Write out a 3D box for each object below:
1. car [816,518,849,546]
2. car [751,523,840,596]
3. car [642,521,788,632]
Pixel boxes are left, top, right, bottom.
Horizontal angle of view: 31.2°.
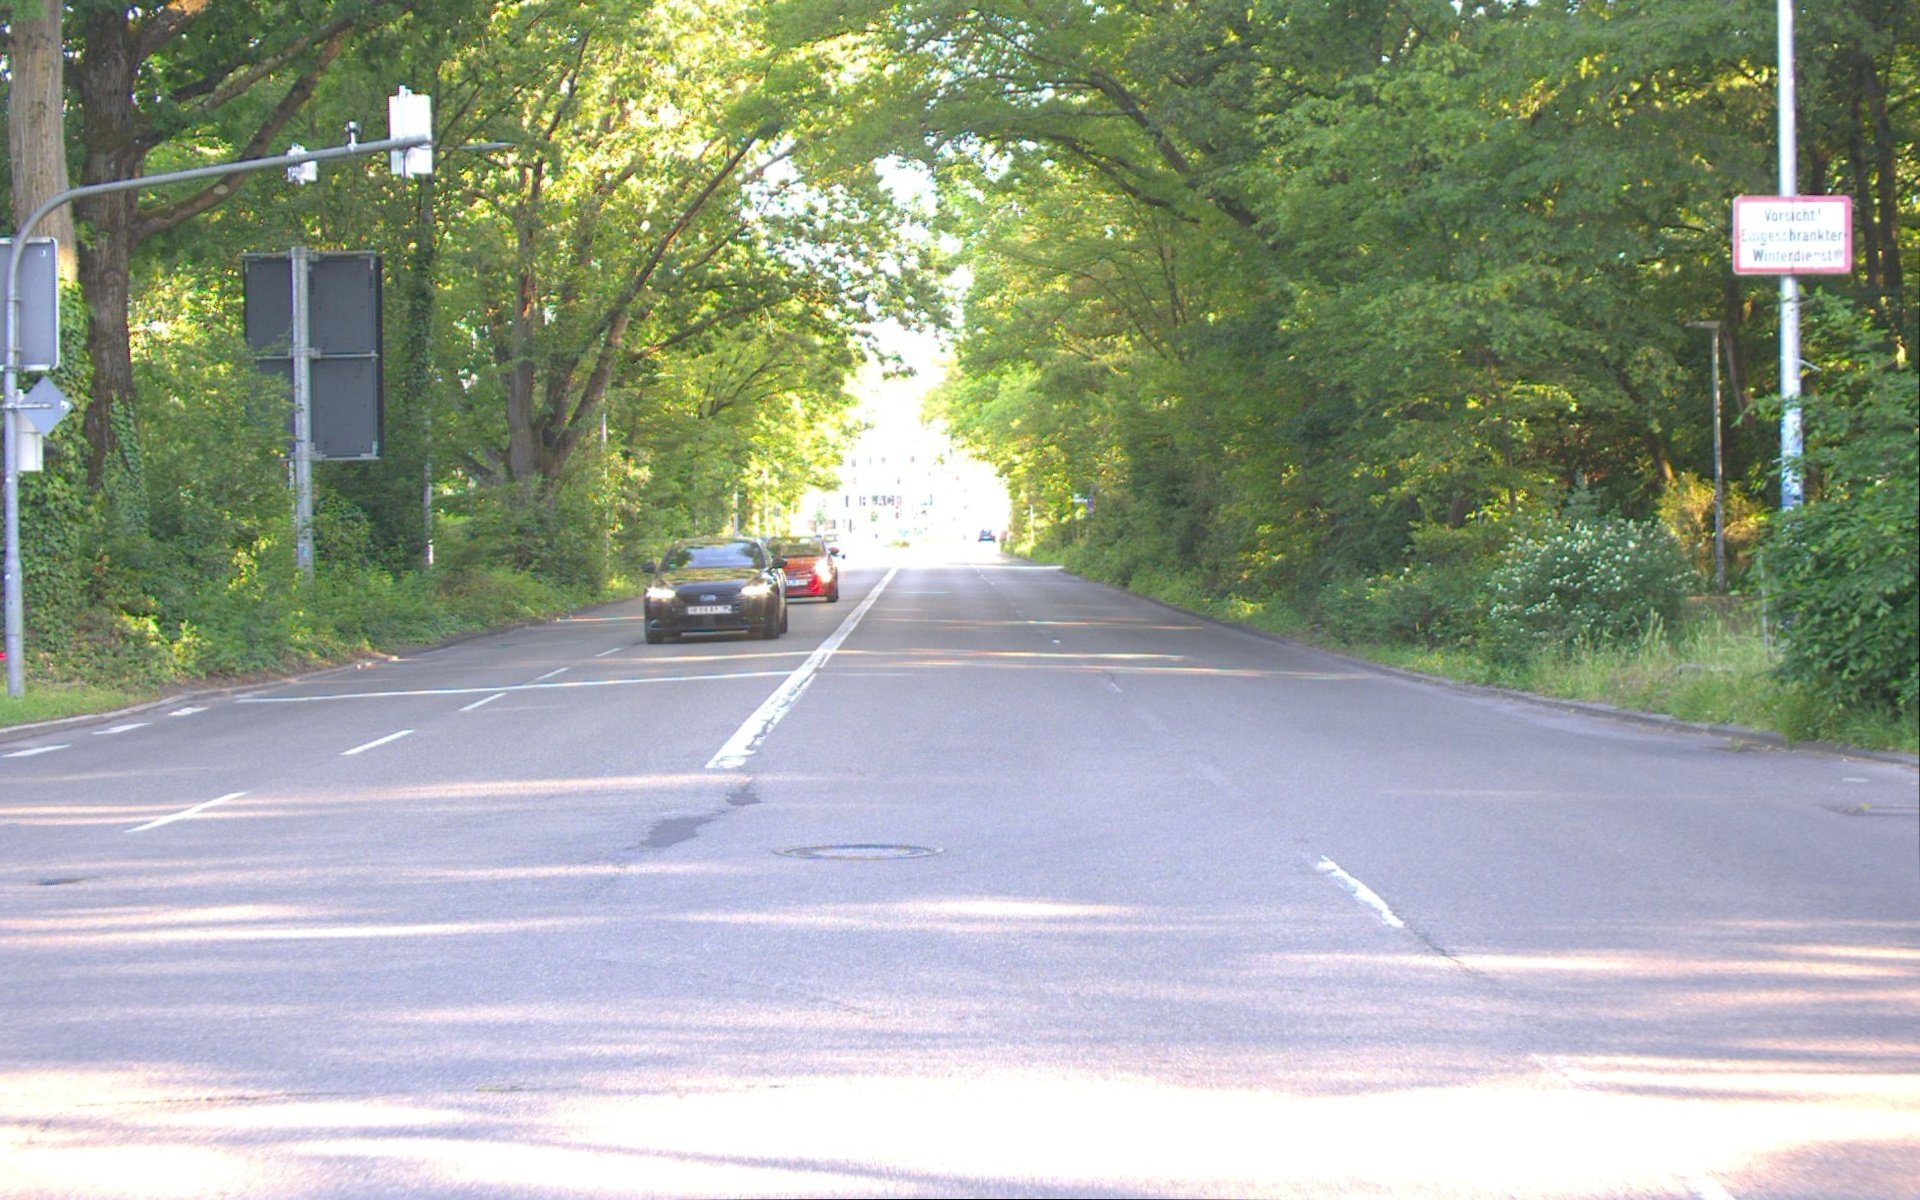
[{"bbox_3d":[-7.111,-3.790,192.113,1.797,1.501,4.365,-1,1,-1],"label":"car"},{"bbox_3d":[-3.547,-0.889,74.694,1.797,1.501,4.365,-1,1,-1],"label":"car"},{"bbox_3d":[-3.544,-0.365,50.324,1.887,1.501,4.365,-1,1,-1],"label":"car"}]
